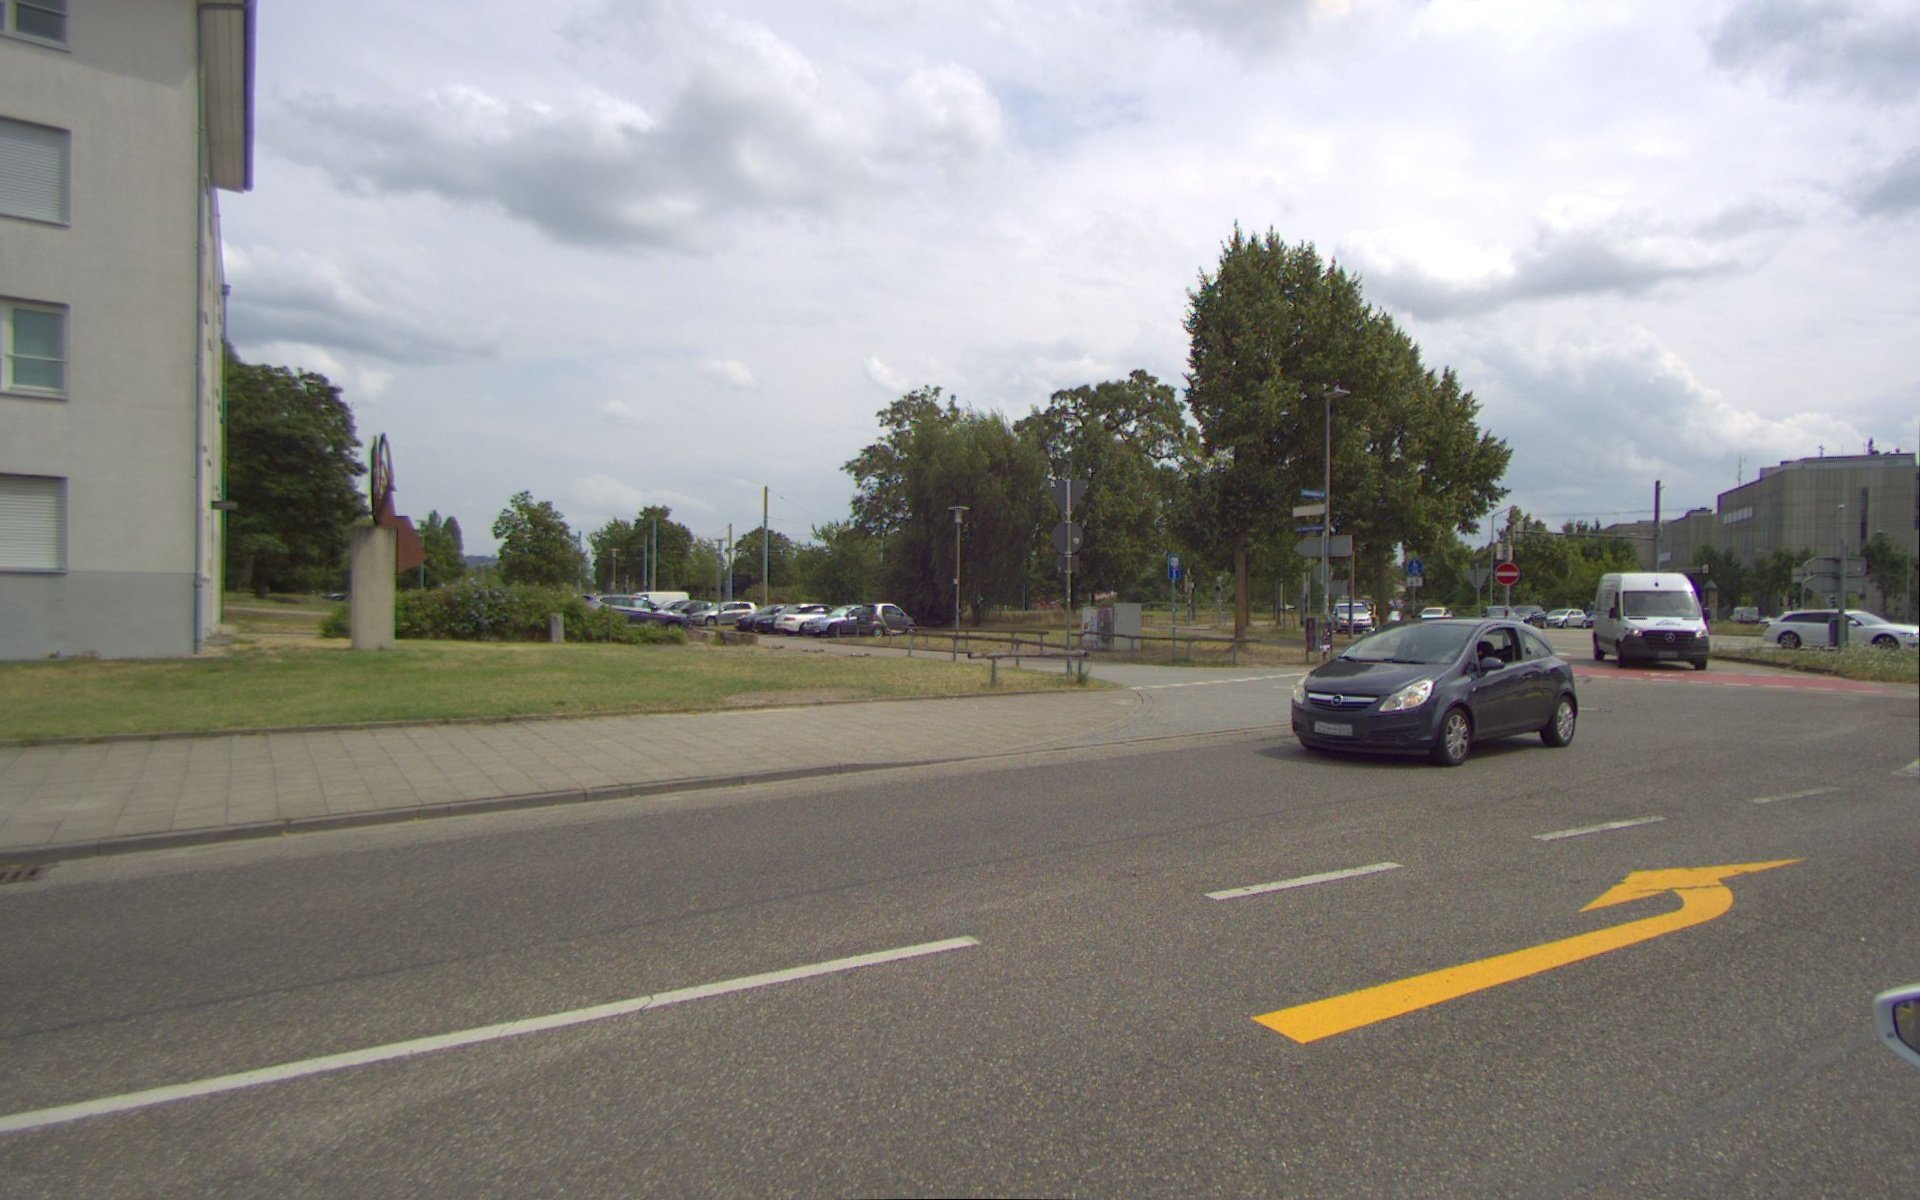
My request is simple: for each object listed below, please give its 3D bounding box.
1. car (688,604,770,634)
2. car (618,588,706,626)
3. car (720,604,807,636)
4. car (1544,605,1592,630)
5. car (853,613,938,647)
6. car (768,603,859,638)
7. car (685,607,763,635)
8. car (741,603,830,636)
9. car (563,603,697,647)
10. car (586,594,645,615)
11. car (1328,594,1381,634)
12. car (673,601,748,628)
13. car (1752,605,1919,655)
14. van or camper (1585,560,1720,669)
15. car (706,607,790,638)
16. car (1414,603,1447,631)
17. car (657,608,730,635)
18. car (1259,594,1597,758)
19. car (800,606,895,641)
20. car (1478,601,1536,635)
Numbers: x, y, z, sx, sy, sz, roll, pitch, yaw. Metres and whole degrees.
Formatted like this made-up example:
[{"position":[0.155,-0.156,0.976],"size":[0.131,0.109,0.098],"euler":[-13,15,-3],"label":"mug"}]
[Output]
[{"position":[-12.913,1.028,56.206],"size":[4.101,1.612,1.795],"euler":[0,-1,-38],"label":"car"},{"position":[-20.722,0.485,69.897],"size":[5.494,2.499,2.084],"euler":[0,-1,-38],"label":"car"},{"position":[-10.254,1.019,52.551],"size":[4.101,1.612,1.795],"euler":[0,-1,-38],"label":"car"},{"position":[45.265,1.333,74.701],"size":[3.964,1.795,1.749],"euler":[1,-2,-38],"label":"car"},{"position":[-2.924,1.347,45.839],"size":[3.603,1.497,1.646],"euler":[0,-1,-40],"label":"car"},{"position":[-7.159,0.982,49.223],"size":[4.101,1.612,1.795],"euler":[0,-1,-38],"label":"car"},{"position":[-13.865,1.210,59.077],"size":[4.101,1.612,1.795],"euler":[0,-1,-38],"label":"car"},{"position":[-8.774,0.946,50.717],"size":[4.101,1.612,1.795],"euler":[0,-1,-38],"label":"car"},{"position":[-12.118,0.891,37.000],"size":[4.403,1.529,1.797],"euler":[0,-1,-35],"label":"car"},{"position":[-27.392,0.331,79.903],"size":[4.101,1.612,1.795],"euler":[0,-1,-38],"label":"car"},{"position":[21.446,0.787,54.747],"size":[1.959,2.040,4.003],"euler":[-1,-1,10],"label":"car"},{"position":[-15.147,0.886,61.126],"size":[4.101,1.612,1.795],"euler":[0,-1,-38],"label":"car"},{"position":[31.701,1.009,35.977],"size":[1.838,1.600,5.017],"euler":[1,0,-22],"label":"car"},{"position":[19.553,0.414,28.692],"size":[2.116,2.761,6.272],"euler":[-1,-1,25],"label":"van or camper"},{"position":[-11.483,1.184,54.412],"size":[4.101,1.612,1.795],"euler":[0,-1,-38],"label":"car"},{"position":[31.860,1.175,67.975],"size":[1.736,1.795,3.993],"euler":[-1,-1,29],"label":"car"},{"position":[-16.659,1.310,62.849],"size":[4.101,1.612,1.795],"euler":[0,-1,-38],"label":"car"},{"position":[5.325,0.713,11.185],"size":[4.221,1.498,1.757],"euler":[1,0,-39],"label":"car"},{"position":[-5.239,1.083,47.063],"size":[4.095,1.529,1.798],"euler":[0,-1,-34],"label":"car"},{"position":[30.103,1.002,55.441],"size":[1.960,1.795,4.002],"euler":[-1,-1,16],"label":"car"}]
